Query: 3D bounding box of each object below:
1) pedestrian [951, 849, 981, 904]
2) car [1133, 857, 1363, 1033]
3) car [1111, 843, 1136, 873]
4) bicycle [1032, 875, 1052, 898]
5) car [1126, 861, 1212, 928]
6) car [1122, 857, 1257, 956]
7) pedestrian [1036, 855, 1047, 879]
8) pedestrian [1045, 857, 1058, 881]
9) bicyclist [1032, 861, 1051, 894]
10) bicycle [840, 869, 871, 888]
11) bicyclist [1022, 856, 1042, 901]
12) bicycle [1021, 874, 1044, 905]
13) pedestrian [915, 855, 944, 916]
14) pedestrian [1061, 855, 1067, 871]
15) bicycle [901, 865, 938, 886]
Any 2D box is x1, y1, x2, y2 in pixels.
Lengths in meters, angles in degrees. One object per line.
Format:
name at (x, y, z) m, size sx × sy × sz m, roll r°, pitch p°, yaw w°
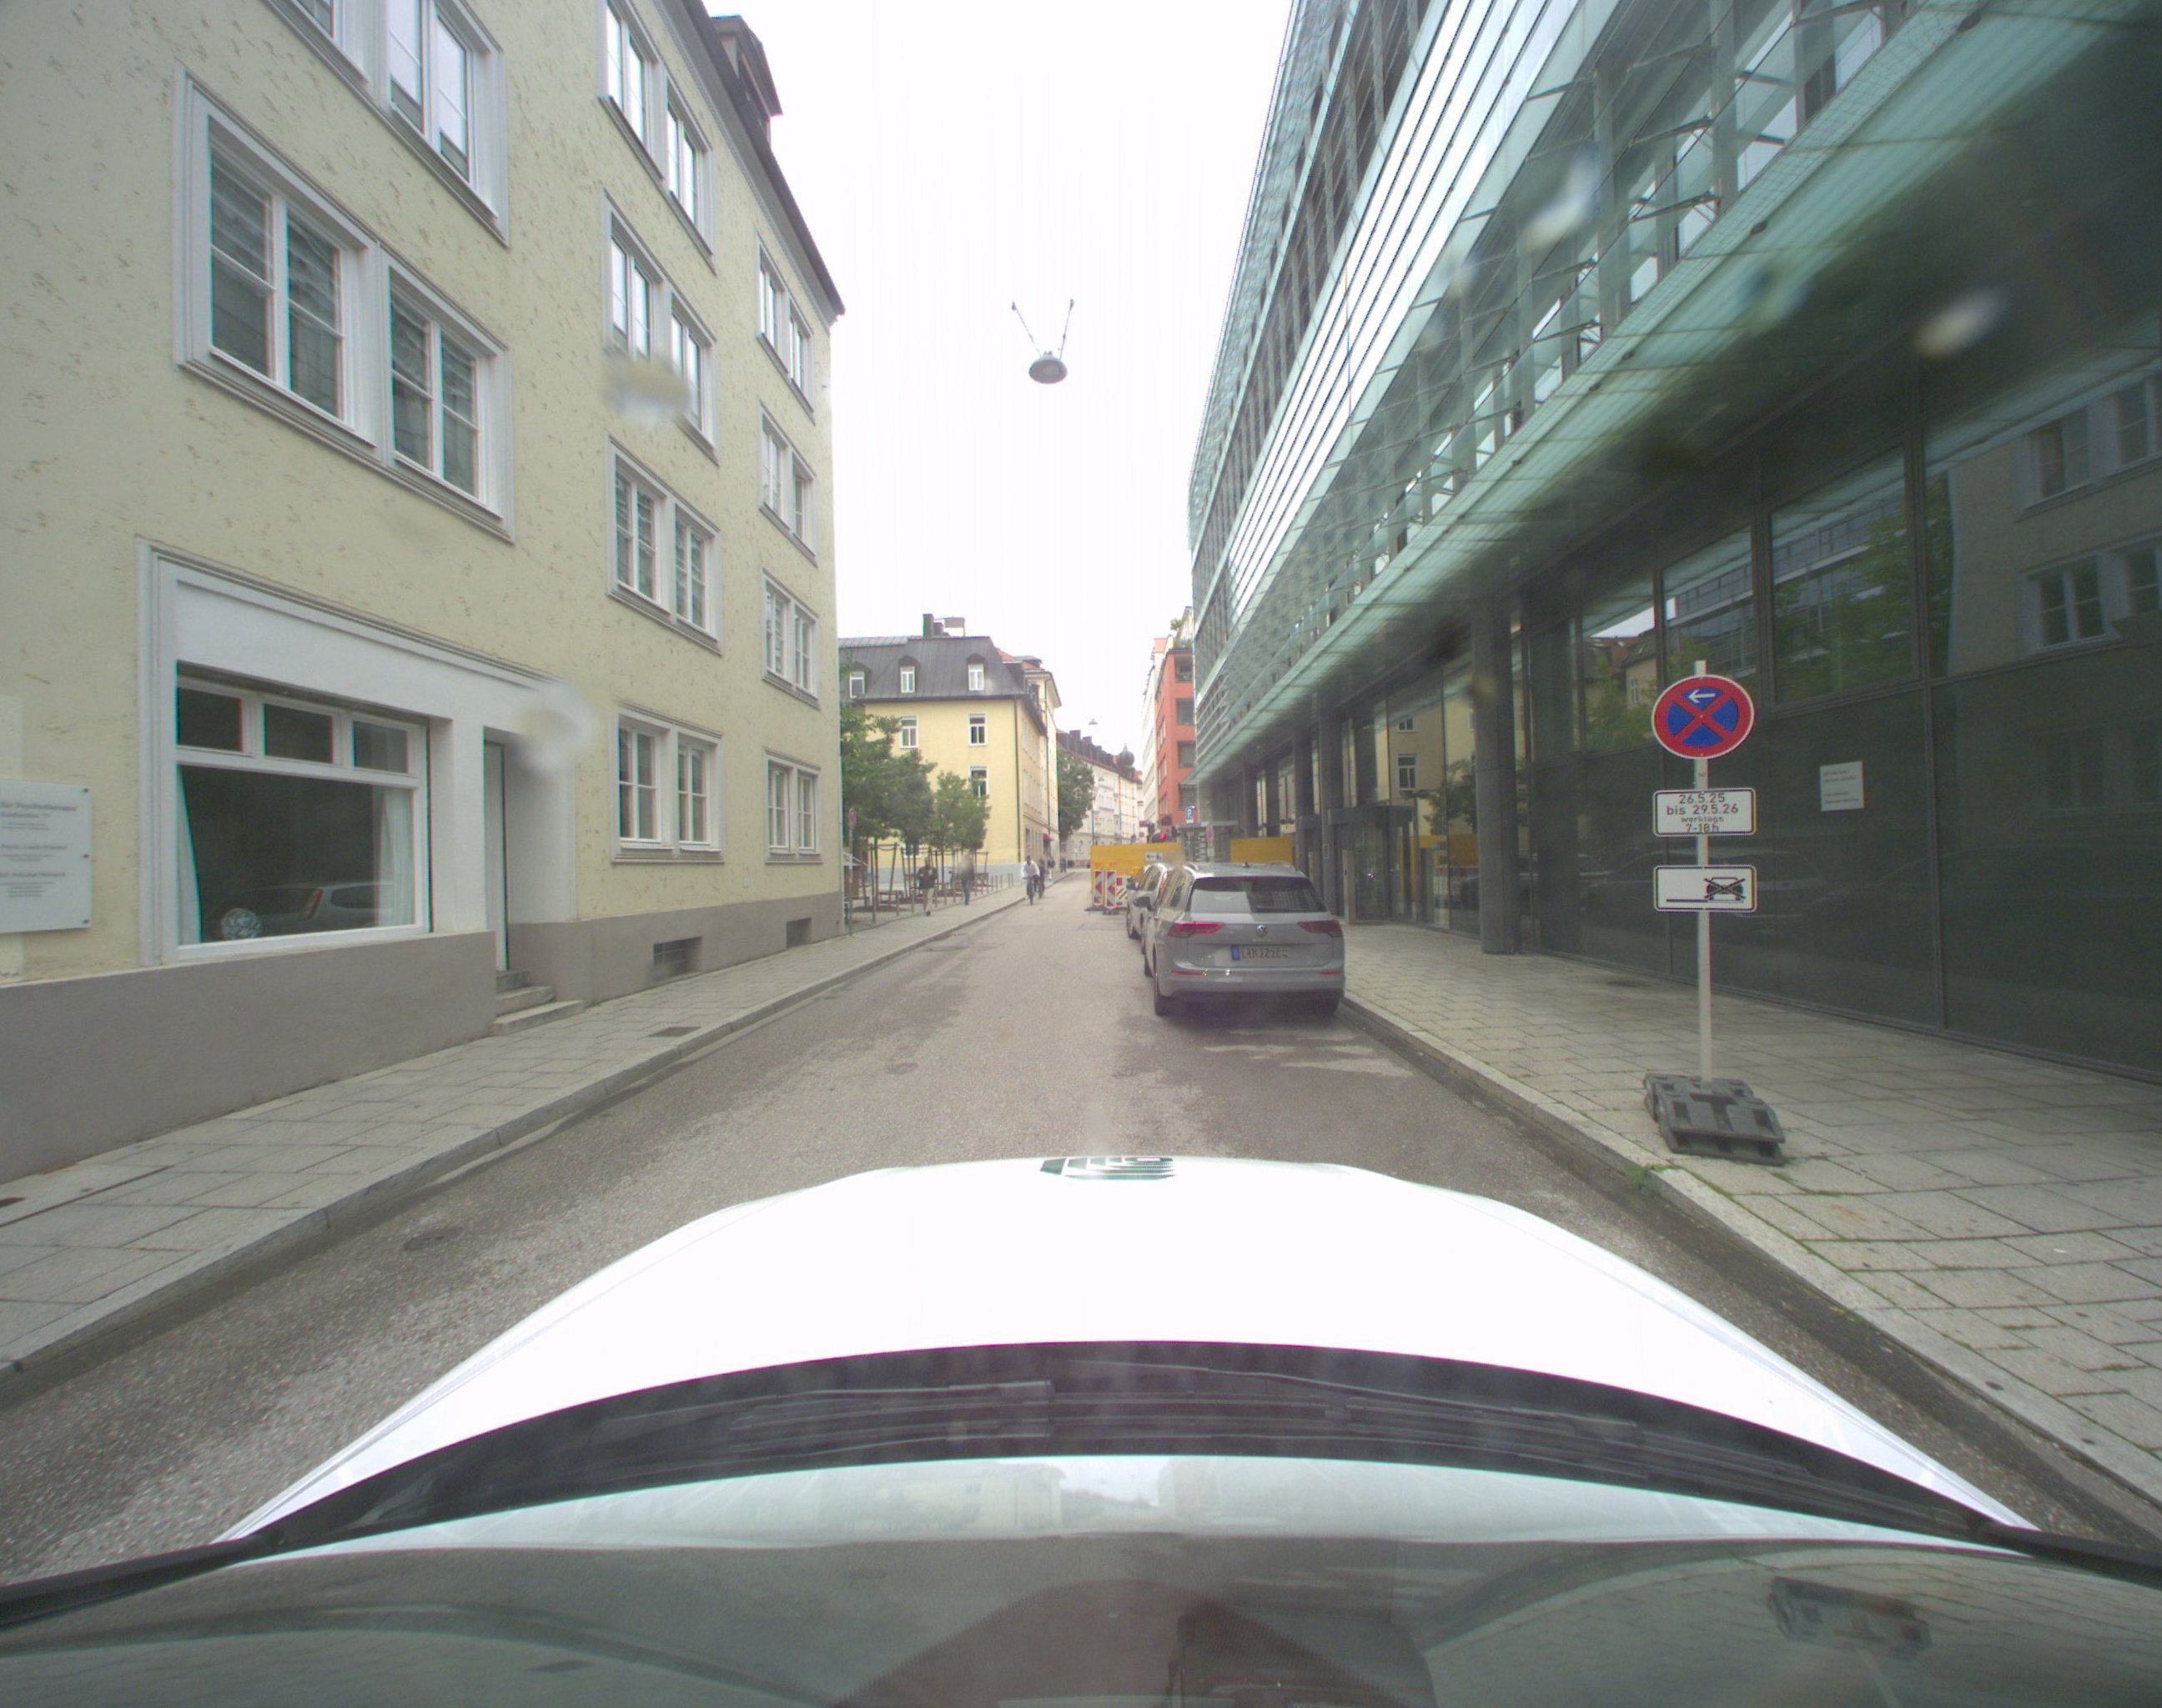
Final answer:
pedestrian at (-4.092, 0.794, 29.145) m, size 0.865 × 1.881 × 1.135 m, roll -1°, pitch -1°, yaw 0°
car at (1.544, 0.785, 9.015) m, size 1.702 × 1.432 × 4.330 m, roll -2°, pitch -1°, yaw 1°
car at (3.677, 0.373, 71.592) m, size 1.986 × 2.537 × 4.976 m, roll -1°, pitch 0°, yaw 1°
bicycle at (-1.683, 1.405, 35.105) m, size 0.705 × 0.905 × 1.810 m, roll -2°, pitch 0°, yaw 1°
car at (1.982, 0.887, 19.465) m, size 1.701 × 1.414 × 4.511 m, roll 0°, pitch -1°, yaw 1°
car at (1.726, 0.803, 14.308) m, size 1.703 × 1.467 × 4.234 m, roll 0°, pitch -1°, yaw -2°
pedestrian at (-2.794, 0.894, 57.303) m, size 0.668 × 1.648 × 0.761 m, roll -1°, pitch -1°, yaw 1°
pedestrian at (-2.041, 1.039, 57.040) m, size 0.836 × 1.700 × 0.803 m, roll -1°, pitch -1°, yaw 1°
bicyclist at (-1.692, 1.013, 35.170) m, size 0.705 × 1.371 × 0.813 m, roll -2°, pitch -1°, yaw 1°
bicycle at (-13.399, 1.451, 48.491) m, size 1.648 × 1.069 × 0.598 m, roll -1°, pitch -1°, yaw 5°
bicyclist at (-1.850, 0.907, 30.823) m, size 0.657 × 1.643 × 0.895 m, roll -2°, pitch -1°, yaw 1°
bicycle at (-1.828, 1.321, 30.721) m, size 0.659 × 1.039 × 2.005 m, roll -2°, pitch 0°, yaw 1°
pedestrian at (-4.293, 0.875, 23.065) m, size 0.645 × 1.676 × 0.724 m, roll -1°, pitch -1°, yaw 0°
pedestrian at (-1.770, 0.938, 84.423) m, size 0.632 × 1.675 × 0.518 m, roll -1°, pitch -1°, yaw 1°
bicycle at (-9.660, 1.288, 48.702) m, size 2.031 × 1.198 × 0.571 m, roll -1°, pitch -1°, yaw 8°
